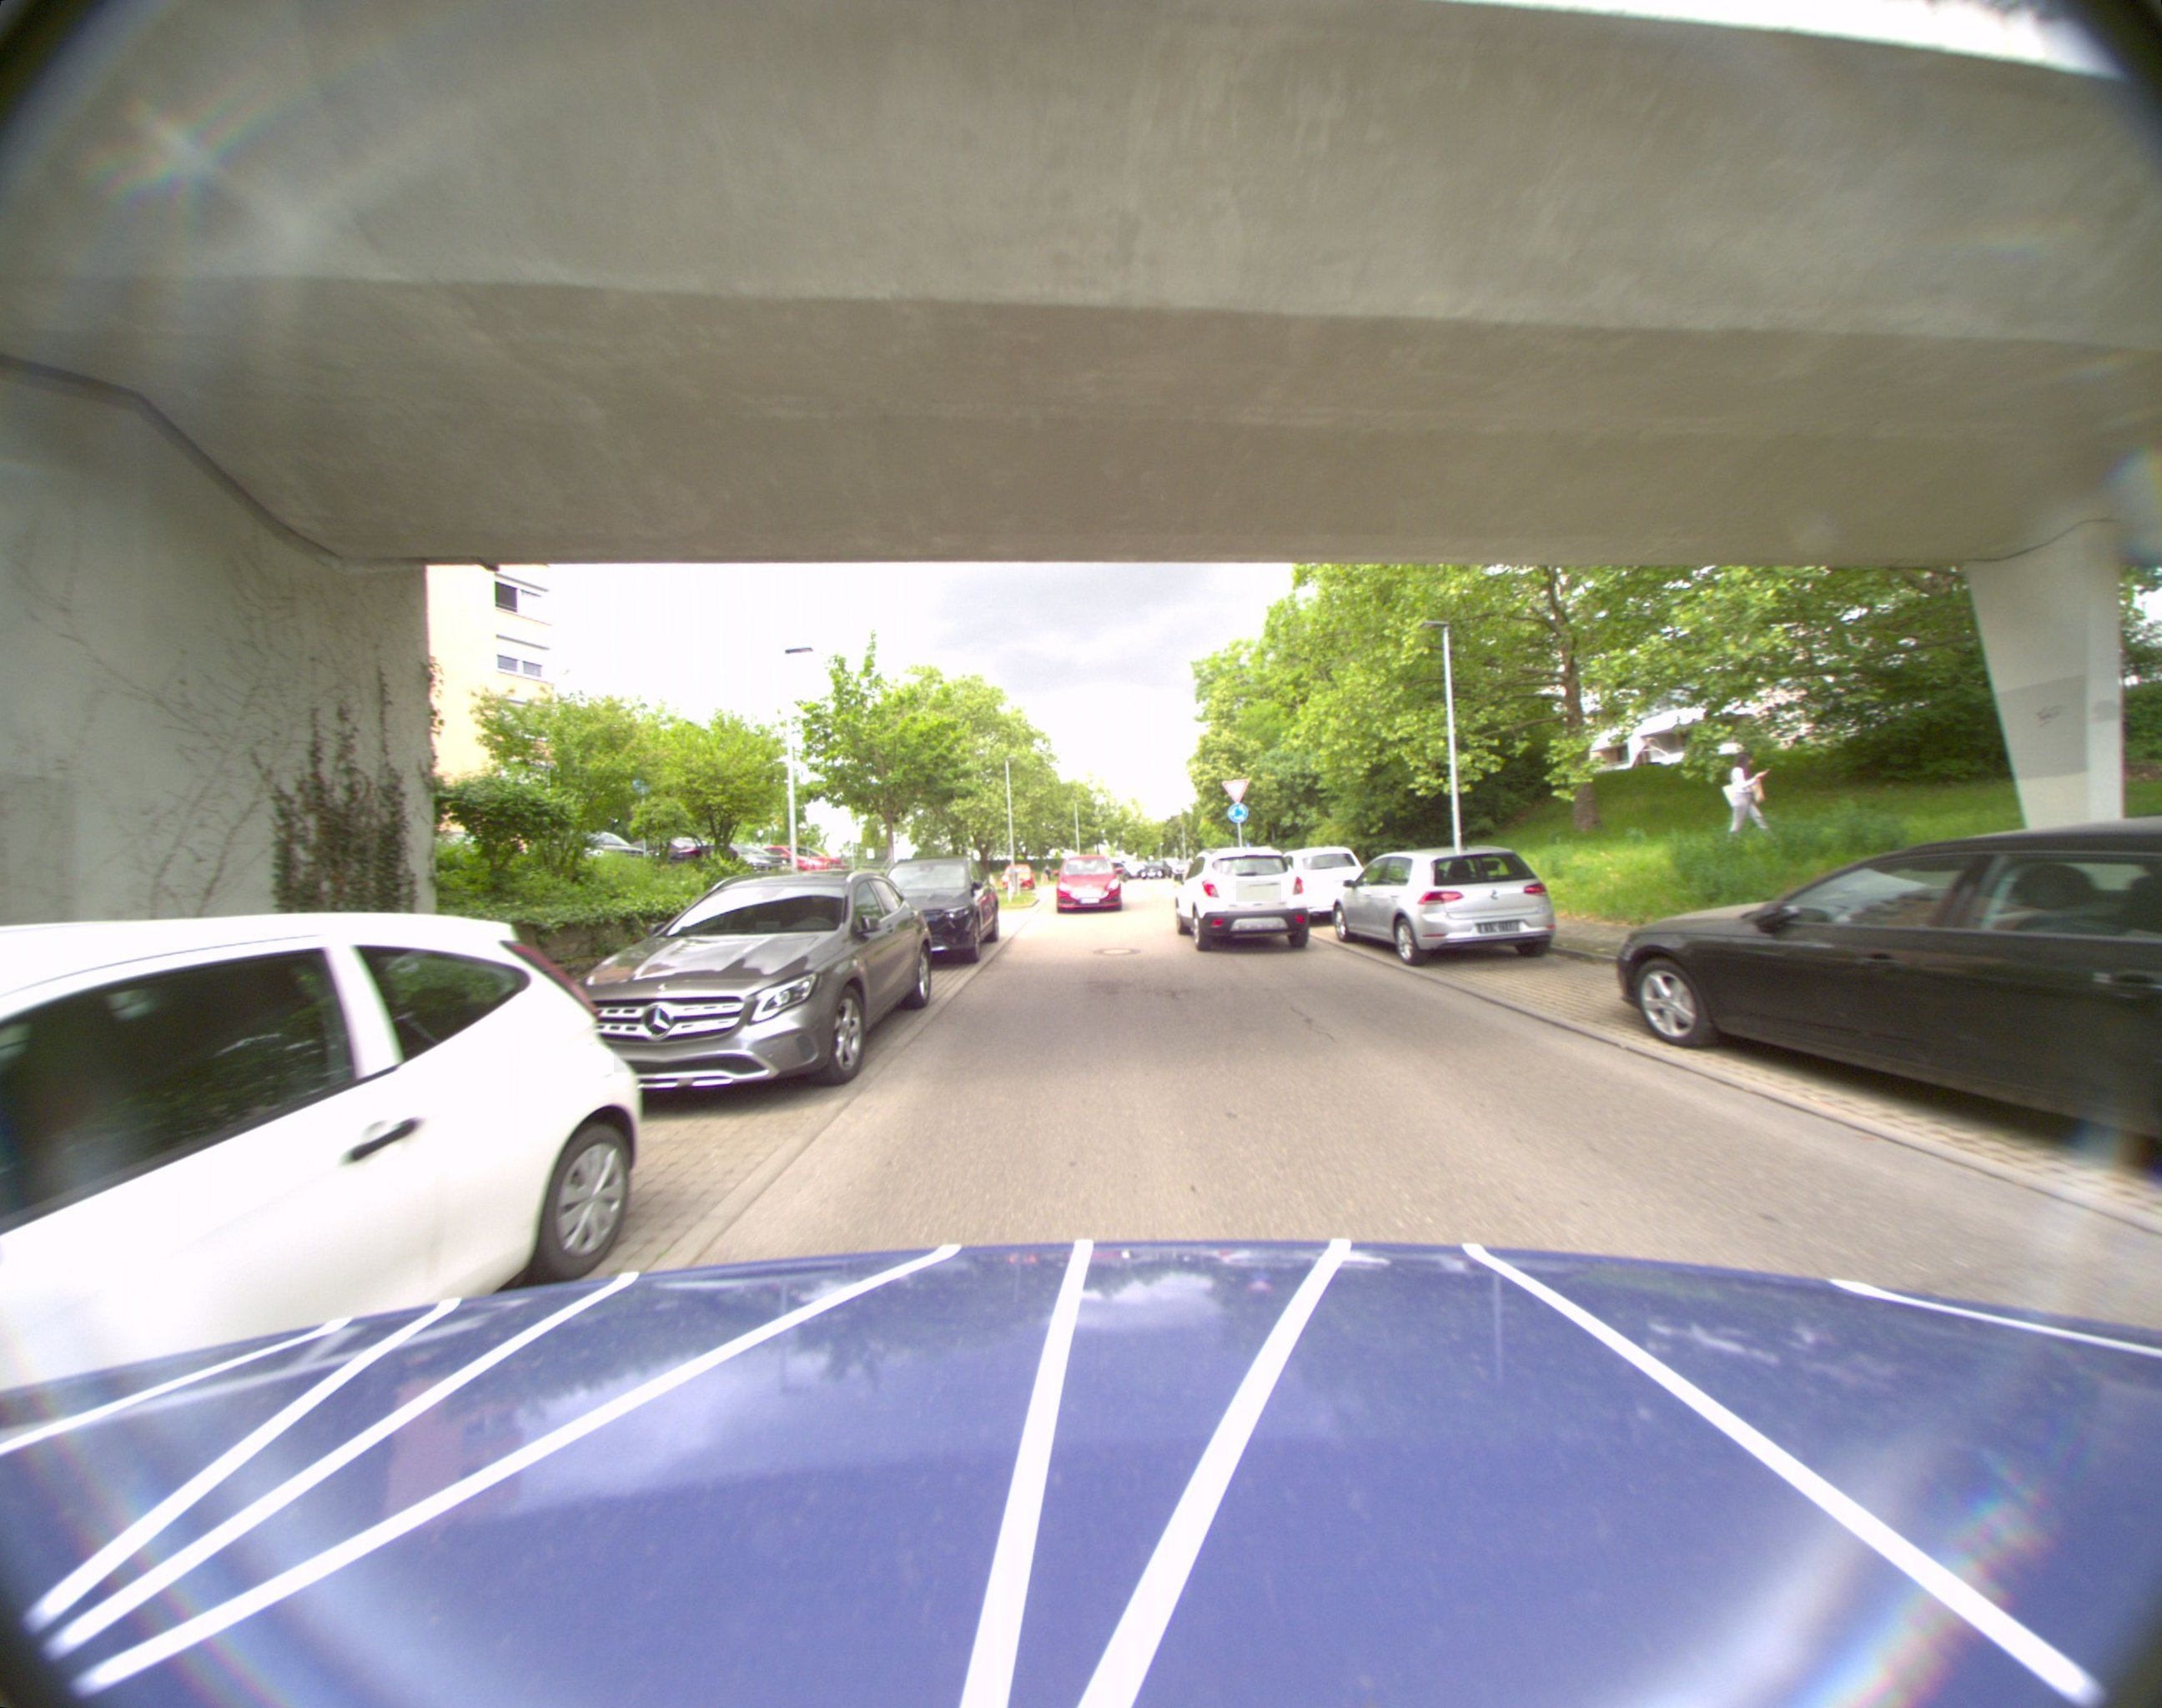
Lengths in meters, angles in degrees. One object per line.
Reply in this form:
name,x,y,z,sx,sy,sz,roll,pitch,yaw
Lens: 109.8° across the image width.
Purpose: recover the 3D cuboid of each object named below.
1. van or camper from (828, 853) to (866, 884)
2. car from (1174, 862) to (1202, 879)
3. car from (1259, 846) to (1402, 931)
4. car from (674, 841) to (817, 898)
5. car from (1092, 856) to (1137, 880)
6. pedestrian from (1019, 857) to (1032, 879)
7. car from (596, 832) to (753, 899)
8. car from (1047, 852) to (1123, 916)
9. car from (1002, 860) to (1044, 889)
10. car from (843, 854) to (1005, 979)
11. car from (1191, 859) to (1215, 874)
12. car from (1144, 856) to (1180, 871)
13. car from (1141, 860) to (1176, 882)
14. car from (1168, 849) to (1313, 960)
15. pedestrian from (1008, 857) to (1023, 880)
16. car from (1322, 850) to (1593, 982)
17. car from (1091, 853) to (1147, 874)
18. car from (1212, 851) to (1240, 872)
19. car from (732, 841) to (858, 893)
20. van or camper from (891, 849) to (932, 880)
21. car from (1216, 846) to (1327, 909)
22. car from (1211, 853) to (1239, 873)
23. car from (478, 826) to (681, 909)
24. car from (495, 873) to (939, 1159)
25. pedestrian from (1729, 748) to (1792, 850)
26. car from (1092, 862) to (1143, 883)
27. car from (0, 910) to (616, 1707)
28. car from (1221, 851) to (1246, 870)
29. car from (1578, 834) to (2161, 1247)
van or camper,-22.928,1.420,74.381,2.118,2.781,4.470,-3,-2,-36
car,10.981,1.650,77.763,1.756,1.606,4.006,-4,-1,22
car,5.102,0.633,16.064,1.889,1.452,3.546,-3,1,2
car,-9.993,0.477,22.629,3.791,1.413,1.687,-4,-1,23
car,2.407,0.986,53.268,1.756,1.506,4.006,-4,-1,22
pedestrian,-4.172,1.055,56.963,0.689,1.646,0.601,-5,-1,16
car,-10.821,0.336,20.220,3.654,1.489,1.687,-4,-1,23
car,0.226,0.846,23.252,1.978,1.635,4.537,-4,-1,3
car,-3.277,1.152,43.504,1.758,1.506,4.002,-4,-1,4
car,-2.397,0.893,12.731,1.818,1.668,4.370,-2,-1,-1
car,14.299,1.464,89.042,1.756,1.606,4.006,-4,-1,22
car,9.155,1.060,85.793,3.674,1.637,1.854,-2,-1,19
car,6.447,1.376,62.963,1.756,1.606,4.006,-4,-1,22
car,2.620,0.769,13.412,1.752,1.601,4.053,-2,0,1
pedestrian,-4.953,1.095,57.171,0.870,1.647,0.594,-4,-1,16
car,5.001,0.726,10.825,1.889,1.419,4.000,-4,0,1
car,3.515,0.905,70.220,4.780,1.821,1.845,-2,0,16
car,13.341,0.685,69.776,1.802,1.606,4.483,-7,-1,17
car,-9.403,0.427,24.969,3.654,1.430,1.687,-4,-1,23
van or camper,-16.675,1.053,74.620,2.118,2.781,4.470,-3,-2,-36
car,5.174,0.577,21.175,1.791,1.460,3.997,1,2,-4
car,12.317,0.731,64.661,1.692,1.456,4.462,-7,-2,17
car,-11.786,0.343,17.897,3.992,1.604,1.947,-4,-1,20
car,-2.485,0.990,6.447,1.704,1.488,4.118,-2,0,0
pedestrian,12.023,-0.947,13.467,0.658,1.711,0.741,-4,-1,36
car,3.266,1.629,67.726,4.156,1.592,1.741,-4,-1,16
car,-2.662,0.982,1.394,1.566,1.487,3.331,-2,0,-1
car,15.162,0.638,75.285,1.810,1.654,4.443,-7,-2,17
car,4.977,0.697,3.757,1.890,1.500,4.451,-4,0,-3
